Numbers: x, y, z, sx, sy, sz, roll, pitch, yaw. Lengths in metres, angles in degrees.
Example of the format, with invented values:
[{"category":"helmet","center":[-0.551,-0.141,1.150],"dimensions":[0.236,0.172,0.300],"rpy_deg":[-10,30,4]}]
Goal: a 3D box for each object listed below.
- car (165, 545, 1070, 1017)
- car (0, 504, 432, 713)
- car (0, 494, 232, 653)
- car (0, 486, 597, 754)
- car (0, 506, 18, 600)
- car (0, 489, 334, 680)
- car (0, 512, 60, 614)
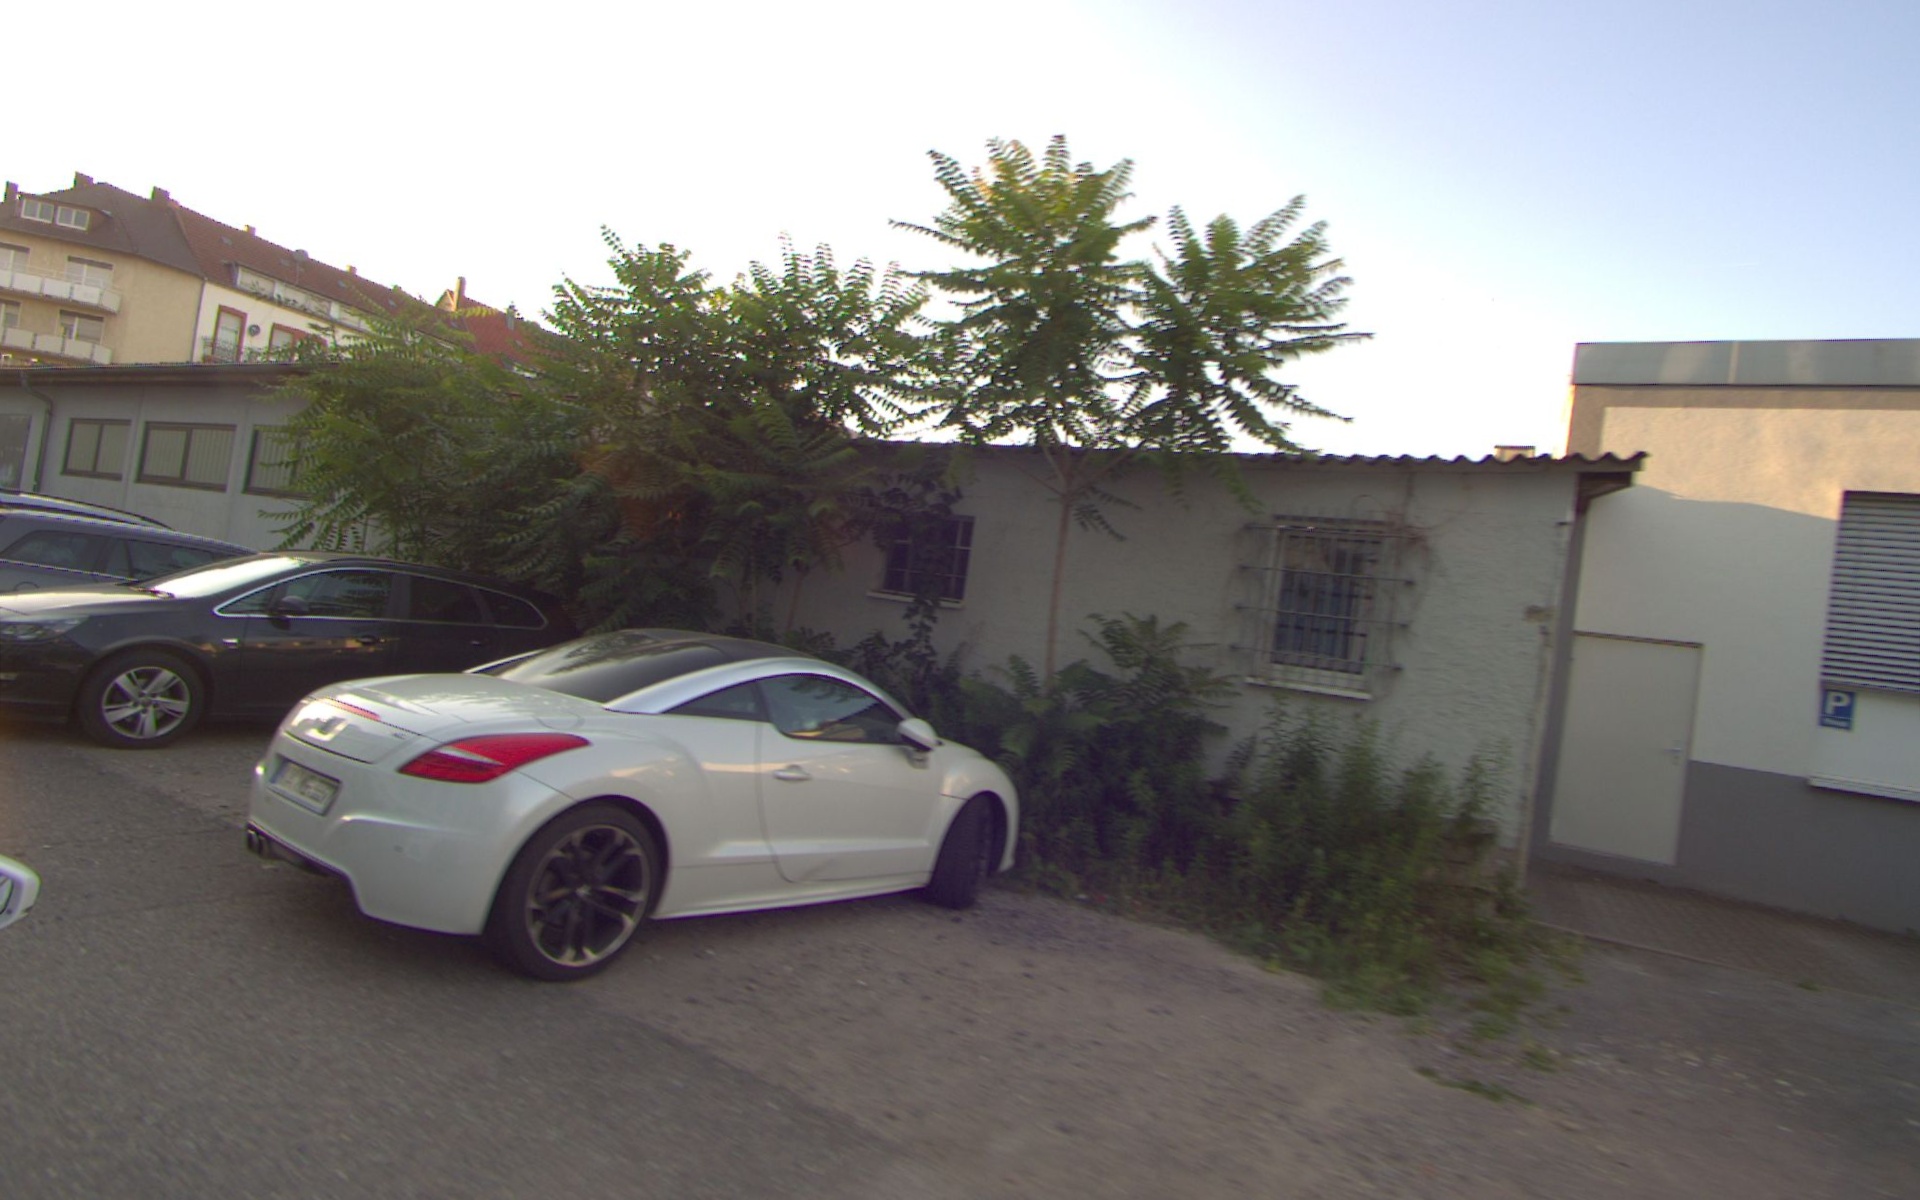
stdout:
[{"category":"car","center":[-1.299,0.830,5.388],"dimensions":[1.795,1.381,4.210],"rpy_deg":[7,-4,36]},{"category":"car","center":[-7.465,0.117,9.405],"dimensions":[1.797,1.460,3.994],"rpy_deg":[6,-5,33]},{"category":"car","center":[-11.750,-0.458,12.346],"dimensions":[1.907,1.626,3.996],"rpy_deg":[7,-4,31]},{"category":"car","center":[-5.363,0.299,8.052],"dimensions":[1.860,1.518,4.212],"rpy_deg":[5,-5,34]},{"category":"car","center":[-17.867,-1.116,16.002],"dimensions":[1.861,1.552,3.768],"rpy_deg":[8,-3,34]},{"category":"car","center":[-9.498,-0.191,10.985],"dimensions":[1.796,1.636,3.998],"rpy_deg":[7,-4,29]},{"category":"car","center":[-15.888,-0.839,14.573],"dimensions":[1.815,1.459,3.771],"rpy_deg":[6,-4,31]}]
